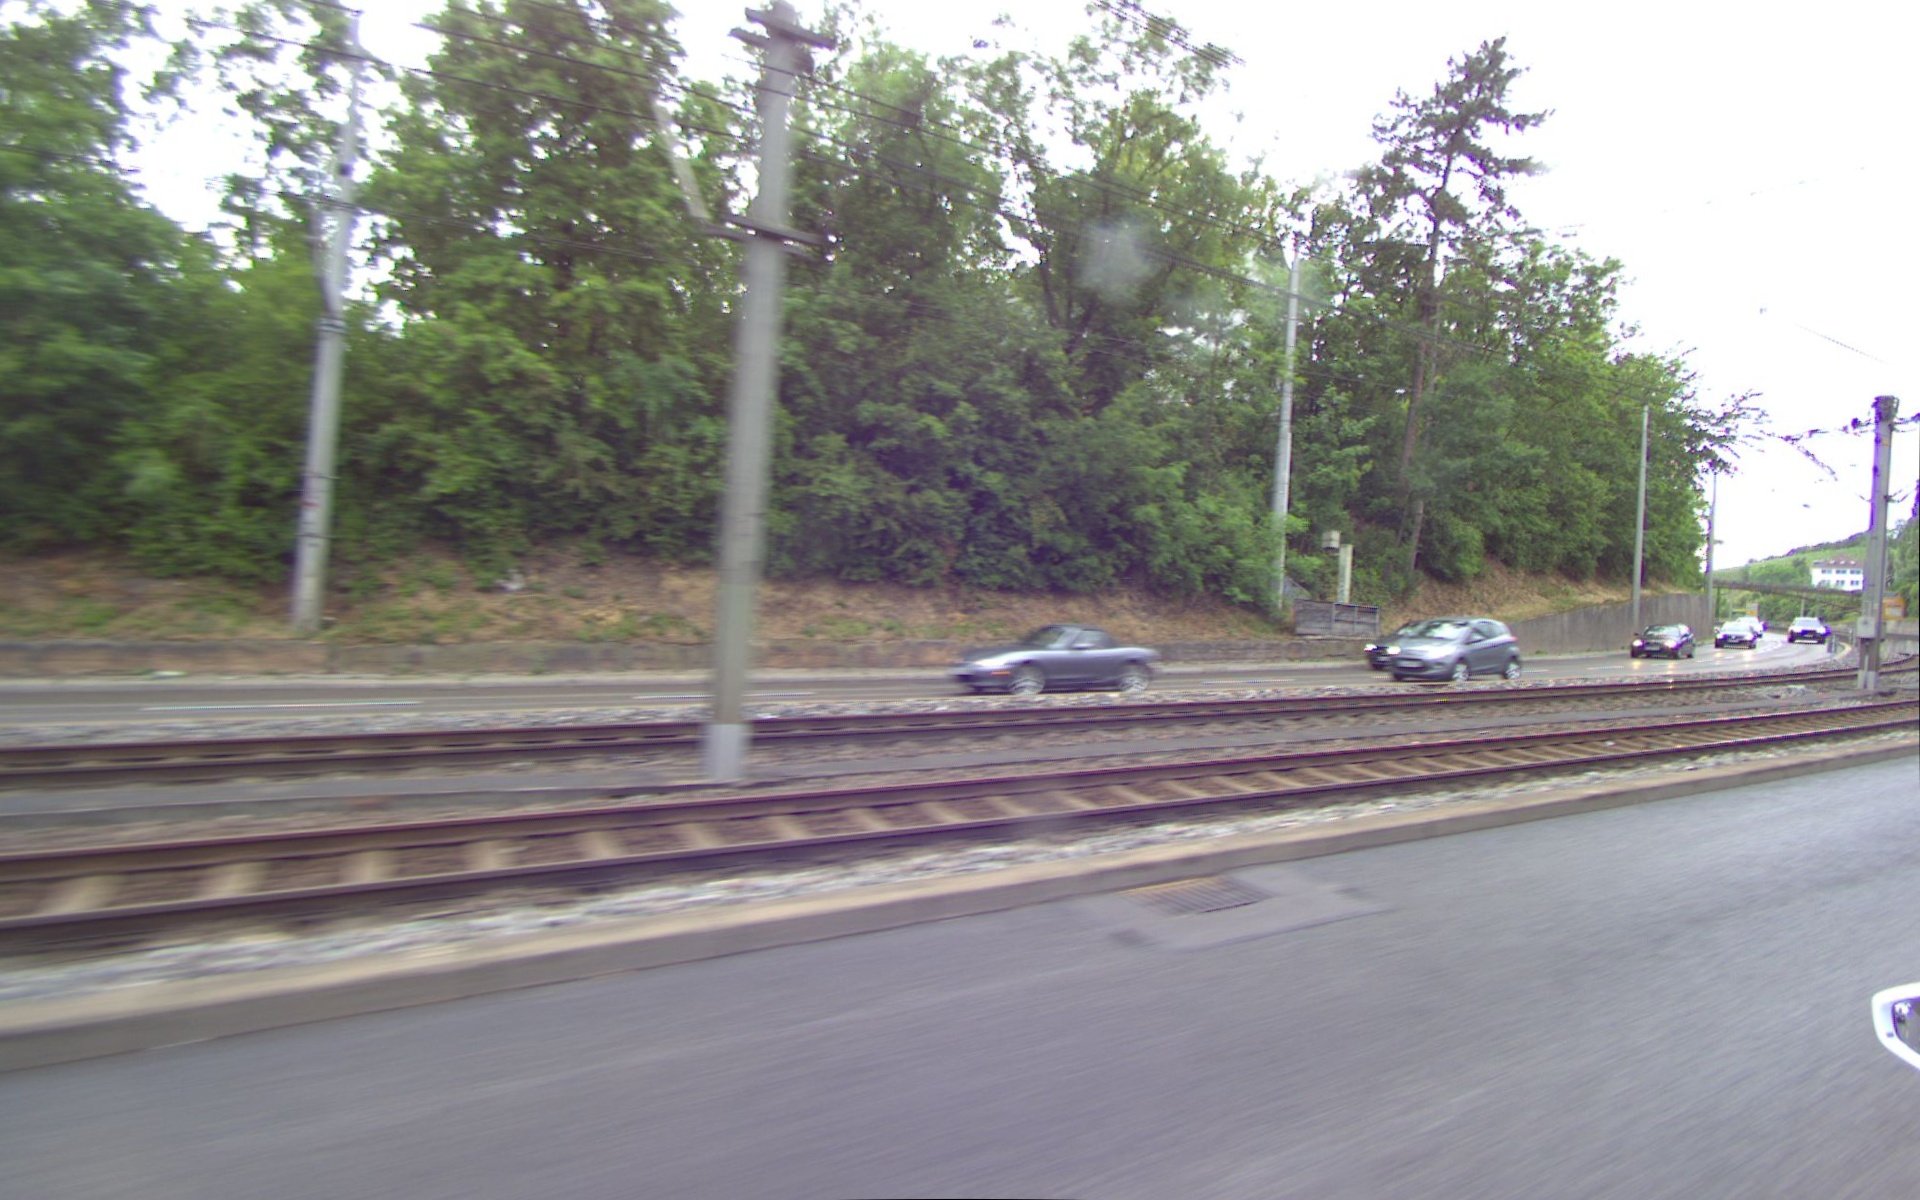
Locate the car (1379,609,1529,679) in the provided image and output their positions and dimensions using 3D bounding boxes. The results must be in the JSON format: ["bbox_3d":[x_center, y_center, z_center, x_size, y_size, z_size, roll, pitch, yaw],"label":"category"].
[{"bbox_3d":[11.487,1.018,23.325,3.583,1.510,1.529,1,-2,-33],"label":"car"}]

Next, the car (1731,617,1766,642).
[{"bbox_3d":[67.845,2.546,86.446,1.972,2.040,3.977,2,0,43],"label":"car"}]

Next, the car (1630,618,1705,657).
[{"bbox_3d":[29.570,1.536,41.919,4.544,1.536,1.728,2,-2,-44],"label":"car"}]

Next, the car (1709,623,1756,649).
[{"bbox_3d":[45.027,2.045,58.513,1.906,1.433,4.427,-1,-1,42],"label":"car"}]

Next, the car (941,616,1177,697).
[{"bbox_3d":[1.752,0.949,17.352,3.913,1.274,1.536,2,-2,-30],"label":"car"}]

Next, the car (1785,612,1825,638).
[{"bbox_3d":[61.476,1.795,73.144,1.903,1.810,4.434,1,0,37],"label":"car"}]

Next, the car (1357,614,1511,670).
[{"bbox_3d":[13.531,1.167,28.573,4.609,1.481,1.806,1,-1,-33],"label":"car"}]
